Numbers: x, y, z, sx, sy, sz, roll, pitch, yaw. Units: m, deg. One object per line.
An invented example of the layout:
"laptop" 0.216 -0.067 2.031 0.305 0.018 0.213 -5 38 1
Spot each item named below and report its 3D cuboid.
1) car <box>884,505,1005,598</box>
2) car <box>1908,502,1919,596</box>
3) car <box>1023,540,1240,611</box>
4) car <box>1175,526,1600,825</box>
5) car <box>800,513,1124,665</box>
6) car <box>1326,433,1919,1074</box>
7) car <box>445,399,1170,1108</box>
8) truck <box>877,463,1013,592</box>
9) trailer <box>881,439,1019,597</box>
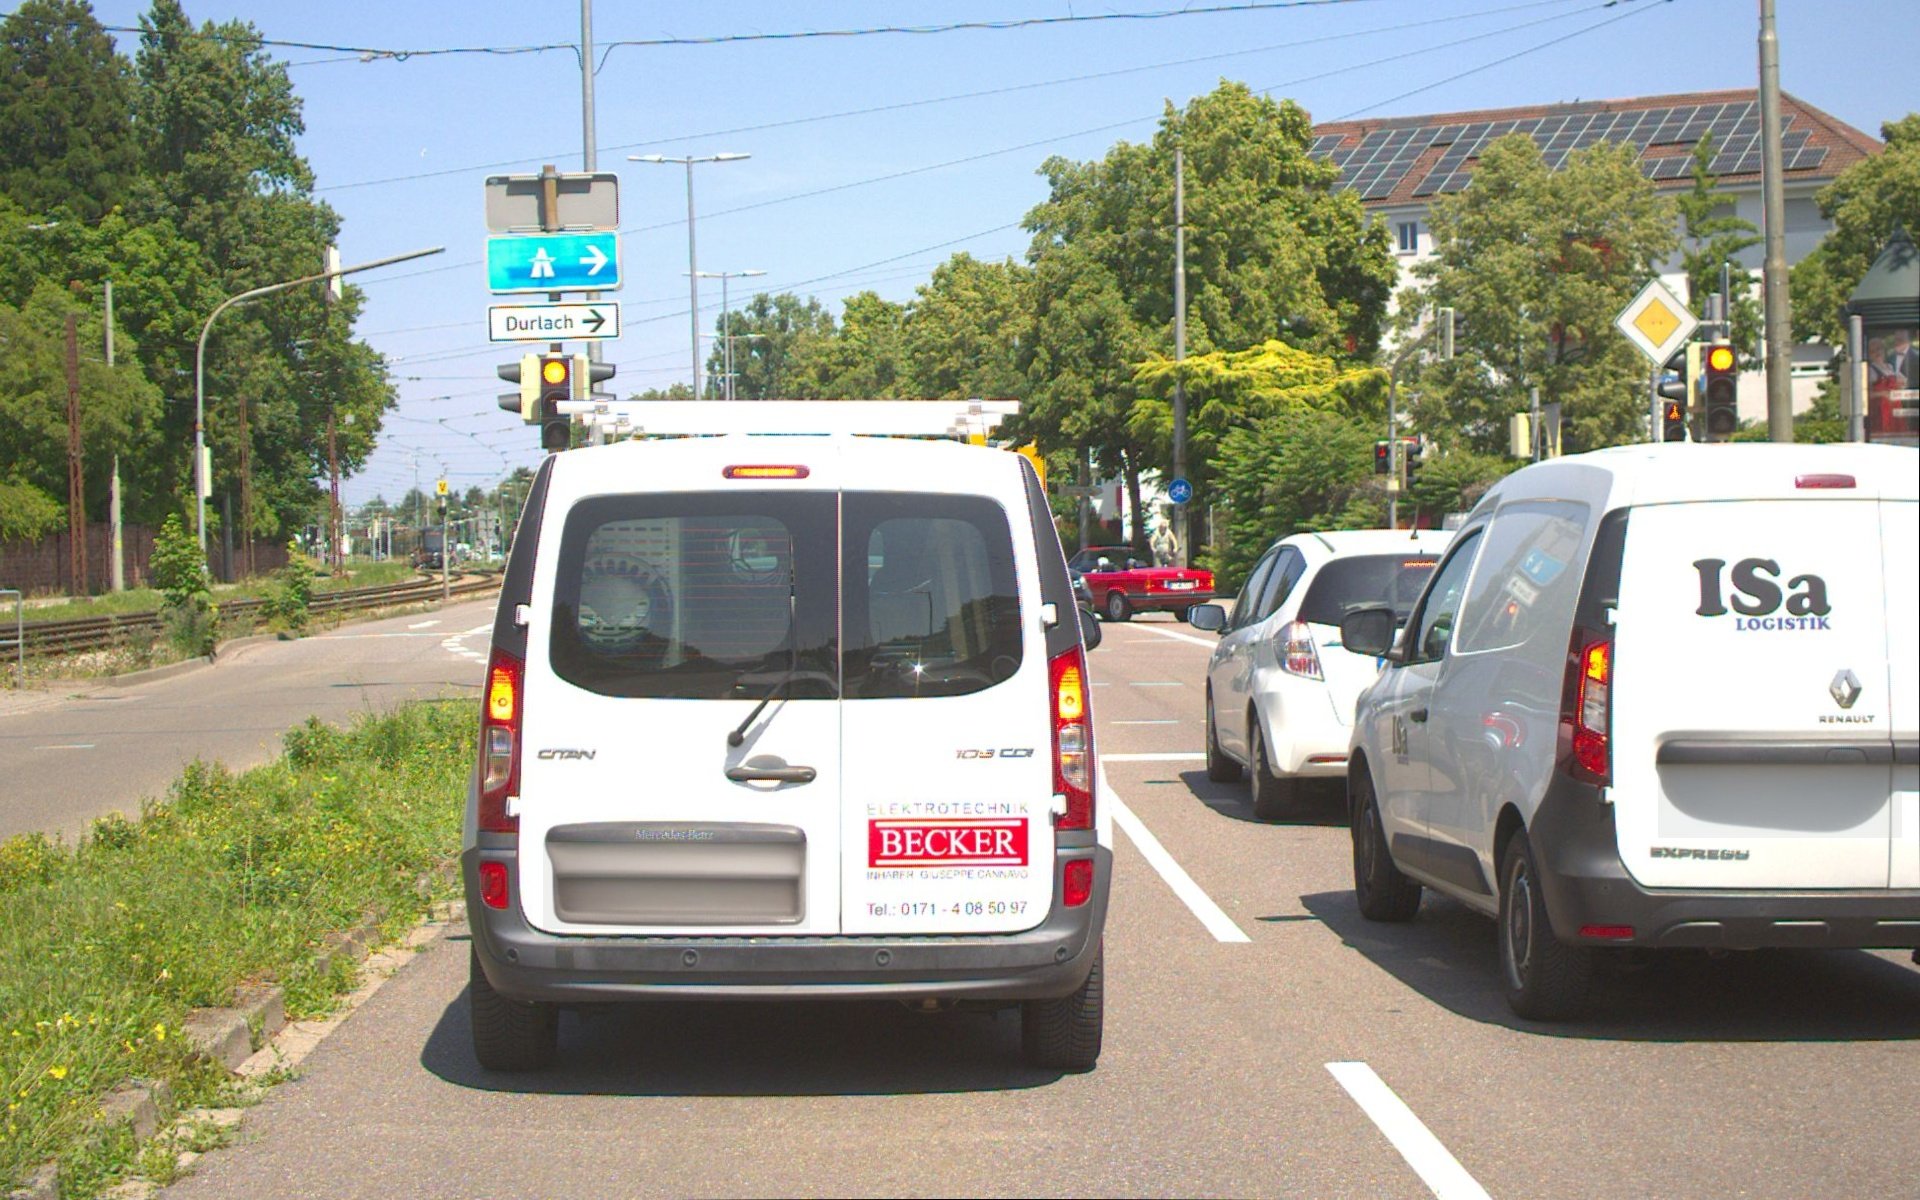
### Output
"car" -0.375 -1.103 77.011 1.993 2.007 4.001 -1 1 -11
"car" 17.420 -0.844 55.154 3.988 1.503 2.000 -1 1 7
"car" 3.056 -0.461 62.032 1.857 1.218 4.000 -1 1 -34
"car" 2.284 0.341 19.345 1.756 1.481 4.001 -1 1 -2
"car" -0.012 -0.163 44.249 1.994 1.853 3.998 -2 1 -41
"car" 2.447 0.393 11.874 1.710 1.824 4.014 -1 1 -3
"car" -0.473 0.359 10.815 1.866 1.829 3.849 0 1 -2
"truck" -0.528 -2.148 102.207 3.575 3.620 8.810 -1 1 -3
"trailer" -0.346 -2.215 93.325 3.527 4.037 8.978 -1 1 -1
